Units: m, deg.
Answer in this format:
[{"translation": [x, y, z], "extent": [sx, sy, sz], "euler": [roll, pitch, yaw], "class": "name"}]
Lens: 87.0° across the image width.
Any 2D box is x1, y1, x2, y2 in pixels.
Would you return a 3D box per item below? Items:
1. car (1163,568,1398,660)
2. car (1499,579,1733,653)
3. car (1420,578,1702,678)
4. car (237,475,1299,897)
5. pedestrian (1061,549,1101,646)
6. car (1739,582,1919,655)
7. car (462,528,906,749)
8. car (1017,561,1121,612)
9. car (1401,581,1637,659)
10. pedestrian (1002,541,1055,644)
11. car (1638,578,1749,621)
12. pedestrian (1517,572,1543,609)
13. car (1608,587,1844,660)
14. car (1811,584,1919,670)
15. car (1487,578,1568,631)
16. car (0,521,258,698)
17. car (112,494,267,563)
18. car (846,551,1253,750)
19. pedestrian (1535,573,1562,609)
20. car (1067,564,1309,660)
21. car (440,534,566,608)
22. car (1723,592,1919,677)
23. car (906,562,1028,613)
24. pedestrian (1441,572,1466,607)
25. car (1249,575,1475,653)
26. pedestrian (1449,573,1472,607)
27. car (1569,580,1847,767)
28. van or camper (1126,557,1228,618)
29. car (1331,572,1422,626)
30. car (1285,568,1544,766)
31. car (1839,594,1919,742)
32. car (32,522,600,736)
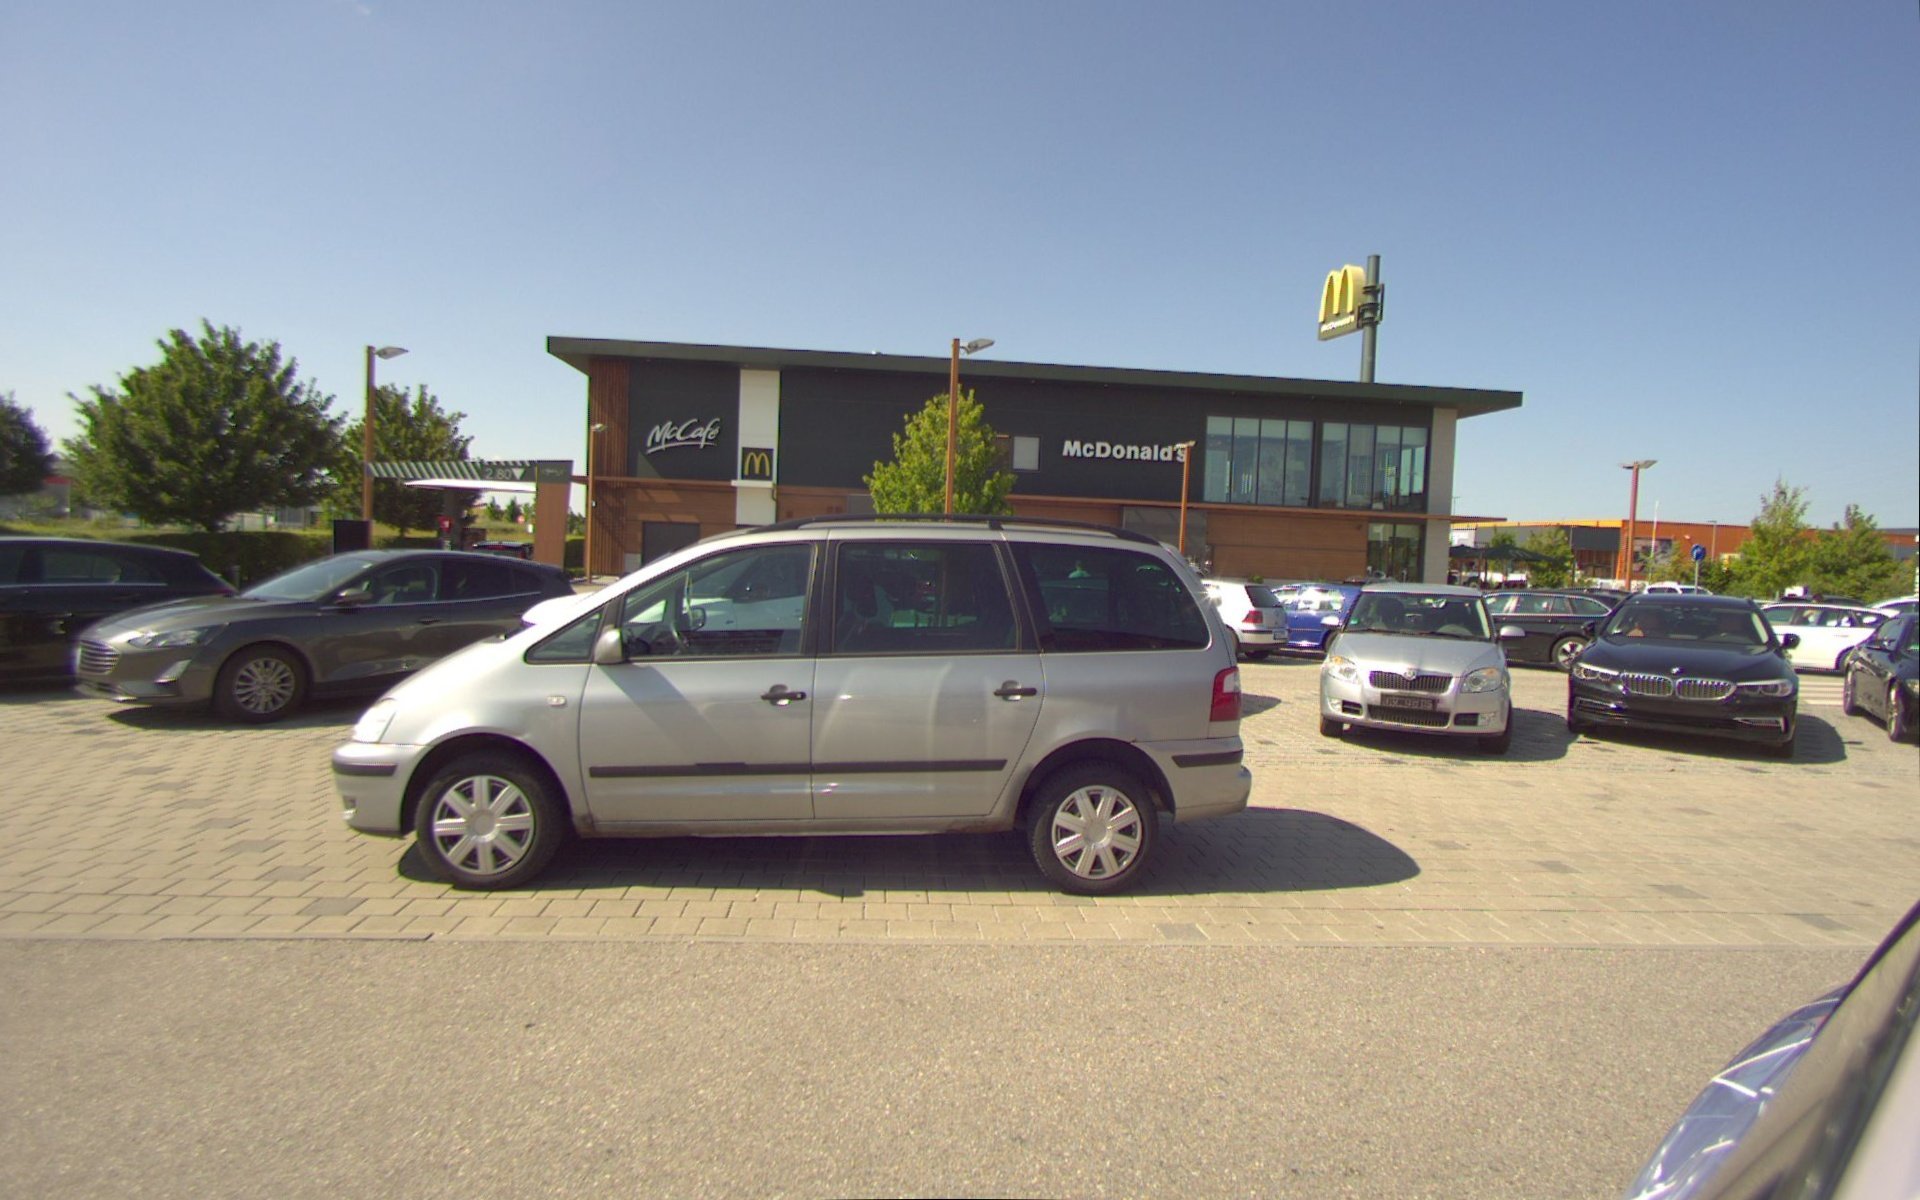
[{"translation": [6.335, 0.194, 20.254], "extent": [4.099, 1.534, 1.787], "euler": [4, 3, 41], "class": "car"}, {"translation": [16.157, 0.319, 25.068], "extent": [4.627, 1.505, 1.868], "euler": [4, 3, 41], "class": "car"}, {"translation": [11.158, 0.429, 18.970], "extent": [4.264, 1.505, 1.787], "euler": [4, 3, 41], "class": "car"}, {"translation": [-0.843, 0.386, 5.387], "extent": [4.589, 1.769, 1.836], "euler": [2, 2, -5], "class": "car"}, {"translation": [2.287, -0.063, 19.178], "extent": [0.549, 1.790, 0.462], "euler": [3, 2, 33], "class": "pedestrian"}, {"translation": [25.048, 0.473, 29.113], "extent": [1.626, 1.797, 3.950], "euler": [1, 2, -44], "class": "car"}, {"translation": [-2.468, 0.238, 10.130], "extent": [1.958, 1.675, 4.166], "euler": [3, 2, 28], "class": "car"}, {"translation": [3.575, -0.468, 32.722], "extent": [1.703, 1.533, 3.902], "euler": [1, 2, 34], "class": "car"}, {"translation": [13.254, 0.396, 24.188], "extent": [4.627, 1.505, 1.868], "euler": [4, 3, 41], "class": "car"}, {"translation": [1.291, -0.149, 19.146], "extent": [0.817, 1.872, 0.771], "euler": [2, 1, -5], "class": "pedestrian"}, {"translation": [30.929, -0.063, 42.825], "extent": [1.730, 1.581, 3.886], "euler": [2, 2, -2], "class": "car"}, {"translation": [25.680, -0.435, 45.593], "extent": [0.688, 1.578, 0.723], "euler": [2, 2, -5], "class": "pedestrian"}, {"translation": [19.447, 0.525, 25.837], "extent": [4.627, 1.505, 1.868], "euler": [4, 3, 41], "class": "car"}, {"translation": [20.470, 0.596, 21.100], "extent": [4.099, 1.695, 1.787], "euler": [4, 3, 41], "class": "car"}, {"translation": [19.230, 0.125, 34.228], "extent": [1.709, 1.632, 3.980], "euler": [3, 2, 38], "class": "car"}, {"translation": [-9.327, 0.029, 9.377], "extent": [1.966, 1.544, 4.272], "euler": [4, 3, 39], "class": "car"}, {"translation": [-27.641, -2.494, 36.571], "extent": [1.960, 2.224, 5.112], "euler": [2, 2, -4], "class": "car"}, {"translation": [1.196, 0.364, 10.574], "extent": [1.965, 1.545, 4.781], "euler": [3, 2, 37], "class": "car"}, {"translation": [26.776, -0.408, 46.037], "extent": [0.688, 1.578, 0.723], "euler": [2, 2, -5], "class": "pedestrian"}, {"translation": [4.191, 0.142, 19.004], "extent": [4.099, 1.511, 1.686], "euler": [4, 3, 41], "class": "car"}, {"translation": [-11.904, -0.812, 26.672], "extent": [1.956, 1.711, 4.245], "euler": [2, 2, -10], "class": "car"}, {"translation": [17.709, 0.658, 19.970], "extent": [4.099, 1.430, 1.787], "euler": [4, 3, 41], "class": "car"}, {"translation": [0.309, -0.410, 32.583], "extent": [1.947, 1.483, 4.418], "euler": [3, 2, 31], "class": "car"}, {"translation": [22.910, -0.502, 46.986], "extent": [0.708, 1.579, 0.702], "euler": [1, 2, -34], "class": "pedestrian"}, {"translation": [9.480, 0.254, 24.085], "extent": [4.627, 1.505, 1.868], "euler": [4, 3, 41], "class": "car"}, {"translation": [24.009, -0.463, 48.550], "extent": [0.708, 1.579, 0.702], "euler": [1, 2, -34], "class": "pedestrian"}, {"translation": [8.098, 0.601, 11.069], "extent": [1.965, 1.505, 4.720], "euler": [3, 2, 37], "class": "car"}, {"translation": [7.120, -0.413, 33.003], "extent": [1.703, 1.797, 3.974], "euler": [3, 2, 37], "class": "van or camper"}, {"translation": [13.831, -0.058, 33.495], "extent": [1.709, 1.632, 3.980], "euler": [3, 2, 38], "class": "car"}, {"translation": [4.678, 0.499, 10.550], "extent": [1.955, 1.545, 4.173], "euler": [3, 2, 24], "class": "car"}, {"translation": [11.535, 0.721, 11.485], "extent": [1.825, 1.477, 4.315], "euler": [3, 2, 35], "class": "car"}, {"translation": [-5.814, 0.153, 9.676], "extent": [1.961, 1.545, 4.160], "euler": [3, 2, 31], "class": "car"}]
